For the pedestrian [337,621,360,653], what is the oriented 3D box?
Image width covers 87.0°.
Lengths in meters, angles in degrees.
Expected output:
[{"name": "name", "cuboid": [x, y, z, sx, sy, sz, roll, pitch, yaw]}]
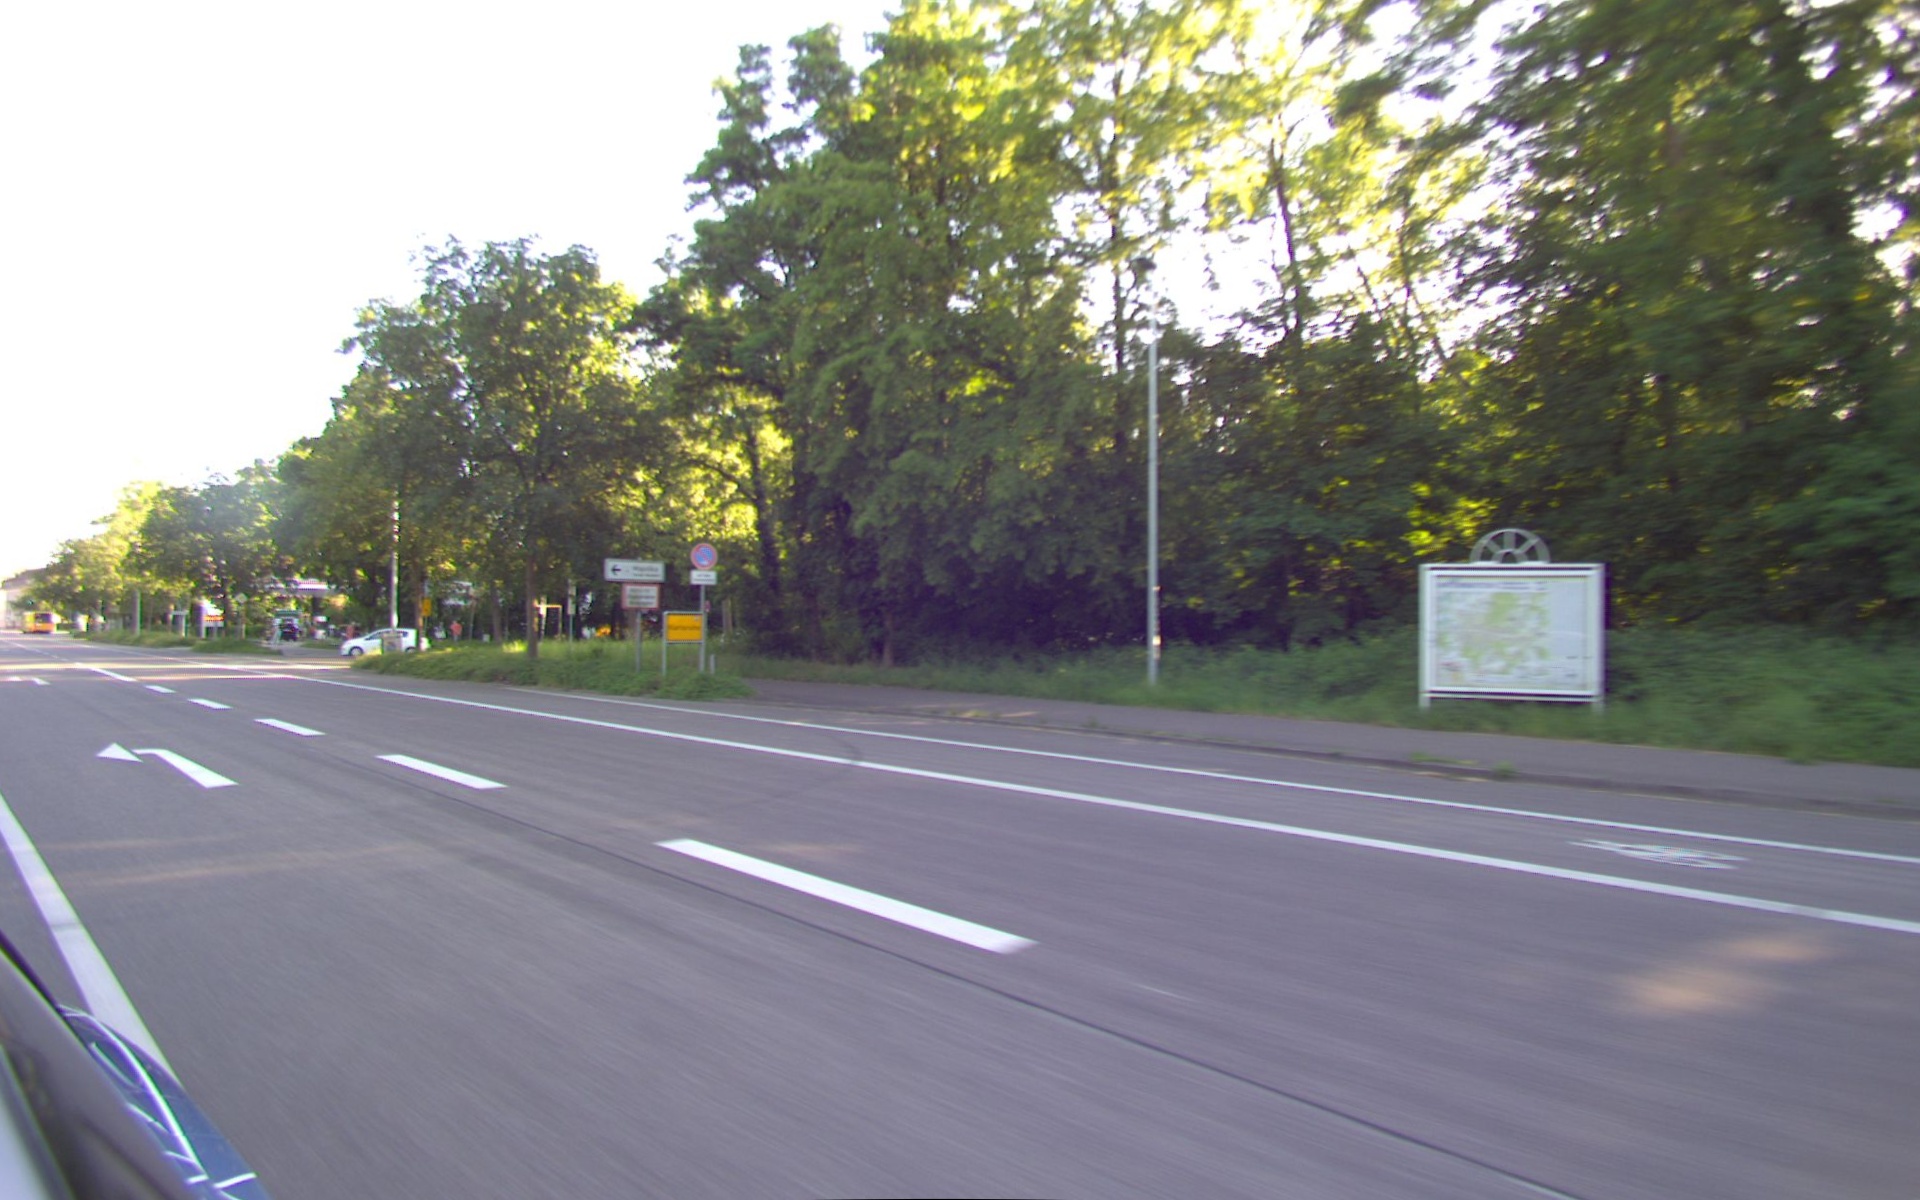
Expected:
[{"name": "pedestrian", "cuboid": [-34.928, 2.112, 57.826, 0.825, 1.833, 0.735, 0, -2, 7]}]

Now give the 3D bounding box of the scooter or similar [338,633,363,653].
[{"name": "scooter or similar", "cuboid": [-35.679, 2.531, 59.241, 1.334, 1.140, 0.462, 0, -2, 19]}]

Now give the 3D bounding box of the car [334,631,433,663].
[{"name": "car", "cuboid": [-28.387, 2.294, 49.962, 3.878, 1.537, 1.835, 1, -2, -13]}]

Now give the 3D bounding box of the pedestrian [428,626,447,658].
[{"name": "pedestrian", "cuboid": [-30.088, 2.401, 58.300, 0.820, 1.833, 0.738, 1, -2, -16]}]

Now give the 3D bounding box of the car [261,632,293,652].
[{"name": "car", "cuboid": [-59.961, 3.672, 88.850, 1.733, 1.653, 3.615, 2, -3, -44]}]

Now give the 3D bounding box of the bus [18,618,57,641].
[{"name": "bus", "cuboid": [-141.815, 4.539, 155.513, 9.472, 3.434, 3.000, -1, -3, 39]}]

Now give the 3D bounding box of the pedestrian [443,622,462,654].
[{"name": "pedestrian", "cuboid": [-29.029, 2.174, 57.885, 0.820, 1.833, 0.738, 1, -2, -16]}]

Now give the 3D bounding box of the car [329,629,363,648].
[{"name": "car", "cuboid": [-53.577, 3.353, 88.244, 1.733, 1.653, 3.840, 2, -3, -44]}]
